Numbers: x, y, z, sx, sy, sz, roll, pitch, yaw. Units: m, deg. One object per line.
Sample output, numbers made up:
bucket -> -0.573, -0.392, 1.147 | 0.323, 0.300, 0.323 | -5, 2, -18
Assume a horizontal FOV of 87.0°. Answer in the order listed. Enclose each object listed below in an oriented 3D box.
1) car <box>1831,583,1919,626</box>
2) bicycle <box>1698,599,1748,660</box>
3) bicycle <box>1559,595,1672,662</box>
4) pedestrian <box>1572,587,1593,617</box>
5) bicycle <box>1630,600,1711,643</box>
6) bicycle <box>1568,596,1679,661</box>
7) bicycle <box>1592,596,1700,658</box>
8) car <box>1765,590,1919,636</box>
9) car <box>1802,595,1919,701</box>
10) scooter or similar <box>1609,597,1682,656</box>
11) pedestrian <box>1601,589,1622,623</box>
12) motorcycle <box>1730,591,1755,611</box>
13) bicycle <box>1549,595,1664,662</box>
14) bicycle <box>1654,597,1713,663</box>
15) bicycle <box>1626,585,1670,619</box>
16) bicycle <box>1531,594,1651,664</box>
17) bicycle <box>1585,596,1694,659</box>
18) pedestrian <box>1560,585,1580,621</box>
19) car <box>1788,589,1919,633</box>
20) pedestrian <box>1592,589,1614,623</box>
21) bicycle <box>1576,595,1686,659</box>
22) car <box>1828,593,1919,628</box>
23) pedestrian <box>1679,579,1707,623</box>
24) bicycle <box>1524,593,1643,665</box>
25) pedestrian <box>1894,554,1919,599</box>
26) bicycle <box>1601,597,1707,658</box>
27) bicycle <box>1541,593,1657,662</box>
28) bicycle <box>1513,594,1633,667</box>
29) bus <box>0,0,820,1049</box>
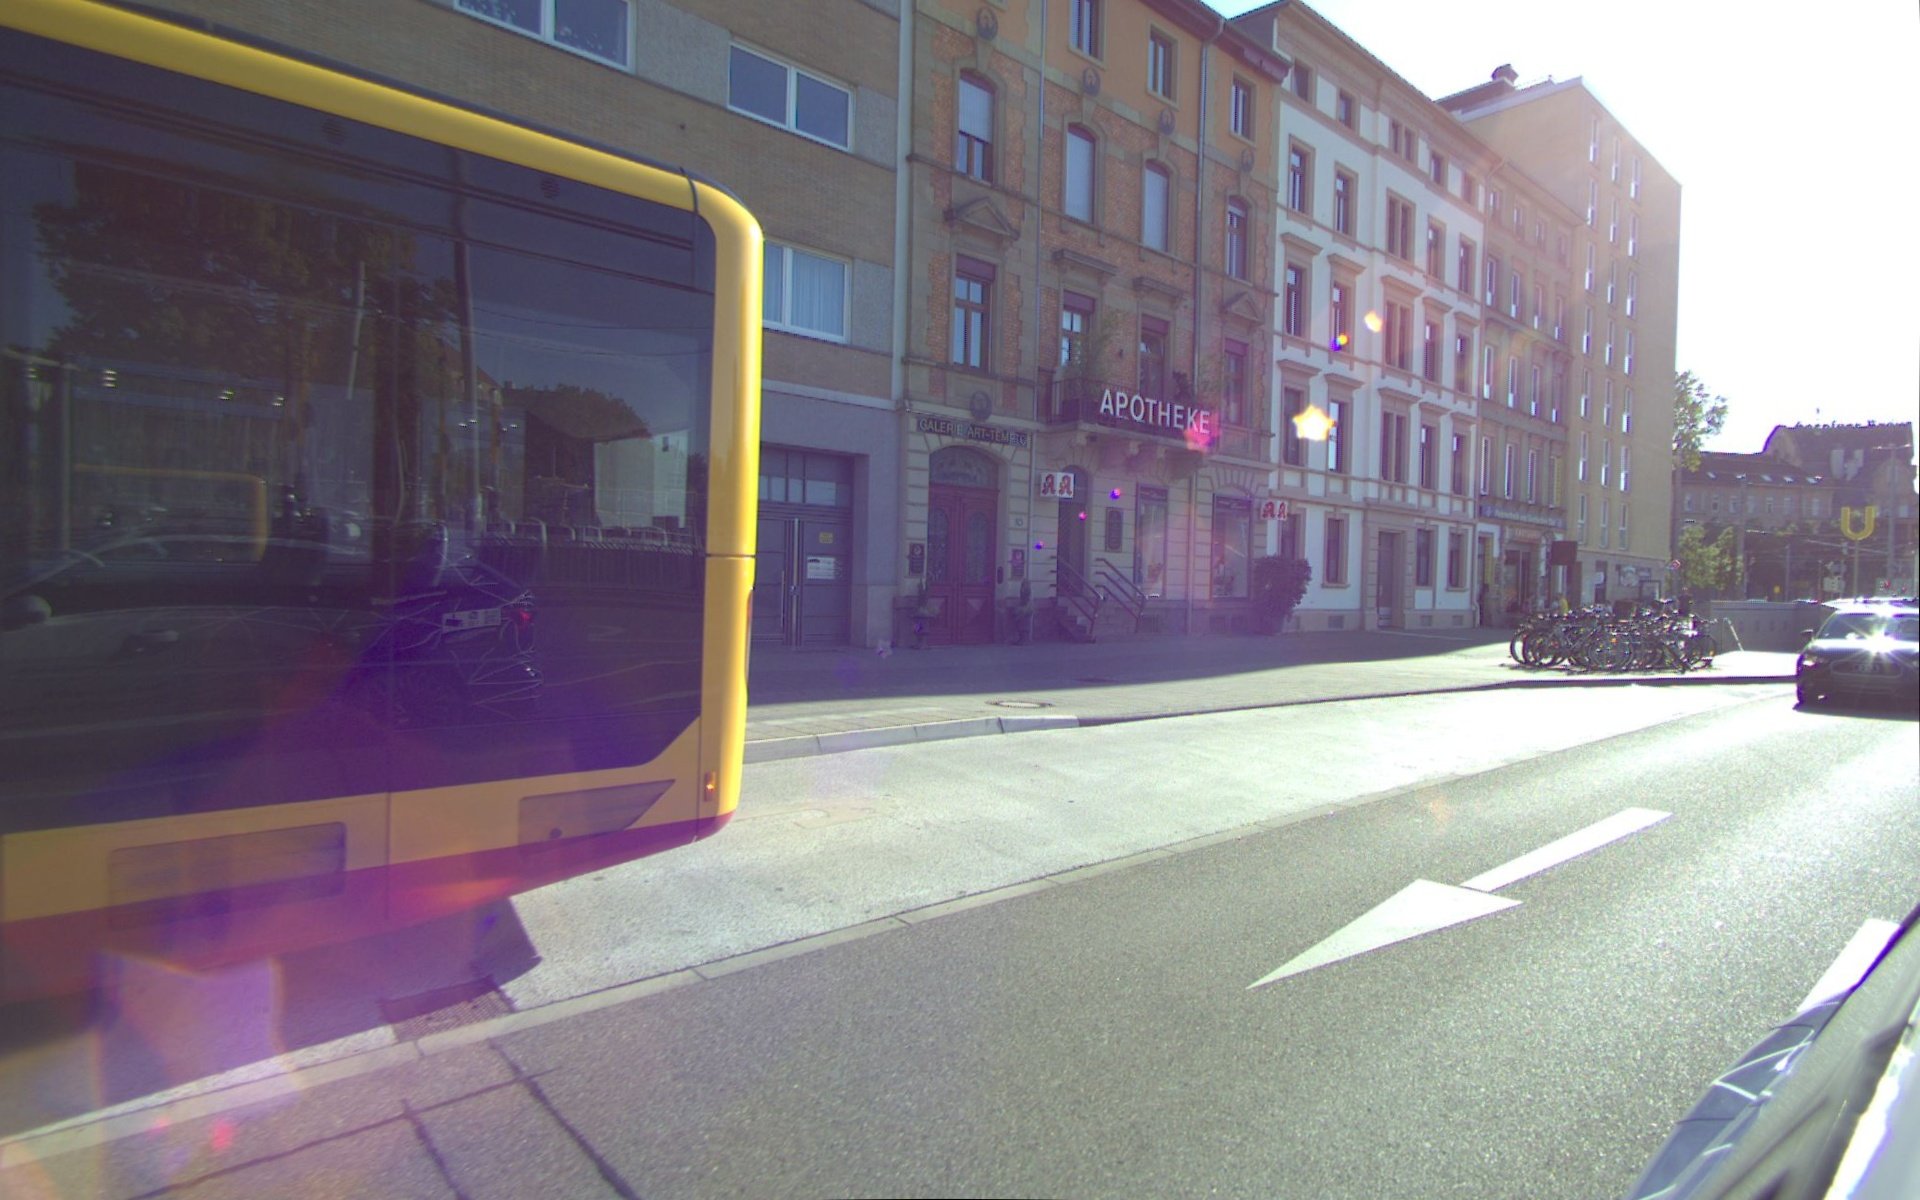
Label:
car -> 41.317, 0.204, 44.472 | 4.181, 1.837, 1.955 | 0, 0, 9
bicycle -> 15.447, 0.580, 20.520 | 0.465, 1.161, 1.754 | 1, 0, 26
bicycle -> 12.657, 0.529, 19.595 | 0.462, 1.202, 1.768 | 2, 0, -40
pedestrian -> 25.079, 0.089, 40.782 | 0.580, 1.175, 0.517 | 0, 1, -33
bicycle -> 20.063, 0.595, 28.607 | 1.750, 1.103, 0.467 | 4, 1, 22
bicycle -> 13.040, 0.535, 19.933 | 0.462, 1.202, 1.768 | 2, 0, -40
bicycle -> 14.150, 0.533, 20.911 | 0.462, 1.193, 1.768 | 2, 0, -40
car -> 31.191, 0.420, 35.565 | 4.045, 1.482, 1.957 | 1, 1, 9
car -> 13.923, 0.666, 15.036 | 3.766, 1.406, 1.692 | 1, 0, -43
scooter or similar -> 14.874, 0.553, 21.995 | 1.195, 1.231, 0.637 | 0, 1, 23
pedestrian -> 26.025, 0.243, 40.420 | 0.580, 1.335, 0.517 | 0, 1, -33
motorcycle -> 45.922, 0.046, 59.377 | 1.774, 1.059, 0.879 | -2, 4, -43
bicycle -> 12.284, 0.518, 19.271 | 0.462, 1.202, 1.768 | 2, 0, -40
bicycle -> 13.431, 0.550, 18.775 | 1.739, 1.161, 0.469 | 1, 0, -41
bicycle -> 31.033, 0.109, 45.620 | 2.187, 1.374, 0.933 | 4, 0, -37
bicycle -> 11.567, 0.515, 18.602 | 0.462, 1.202, 1.795 | 2, 0, -40
bicycle -> 13.788, 0.531, 20.580 | 0.462, 1.202, 1.768 | 2, 0, -40
pedestrian -> 23.179, 0.097, 38.471 | 0.515, 1.335, 0.582 | 2, 1, 43
car -> 33.960, 0.408, 37.863 | 4.177, 1.590, 1.957 | 0, 0, 6
pedestrian -> 25.479, 0.220, 40.076 | 0.580, 1.335, 0.517 | 0, 1, -33
bicycle -> 13.413, 0.524, 20.263 | 0.462, 1.202, 1.768 | 2, 0, -40
car -> 39.080, 0.425, 42.309 | 3.825, 1.417, 1.786 | -1, 0, 6
pedestrian -> 31.795, 0.041, 43.890 | 0.744, 1.889, 0.826 | 1, 1, 20
bicycle -> 11.217, 0.497, 18.250 | 0.462, 1.202, 1.768 | 2, 0, -40
pedestrian -> 40.465, -1.014, 43.084 | 0.740, 1.889, 0.696 | 1, 1, 8
bicycle -> 14.525, 0.555, 21.231 | 0.462, 1.193, 1.768 | 2, 0, -40
bicycle -> 11.919, 0.494, 18.932 | 0.462, 1.202, 1.768 | 2, 0, -40
bicycle -> 10.839, 0.513, 17.945 | 0.462, 1.202, 1.768 | 2, 0, -40
bus -> -6.213, -0.380, 1.649 | 12.320, 3.220, 2.721 | 0, 2, -41
